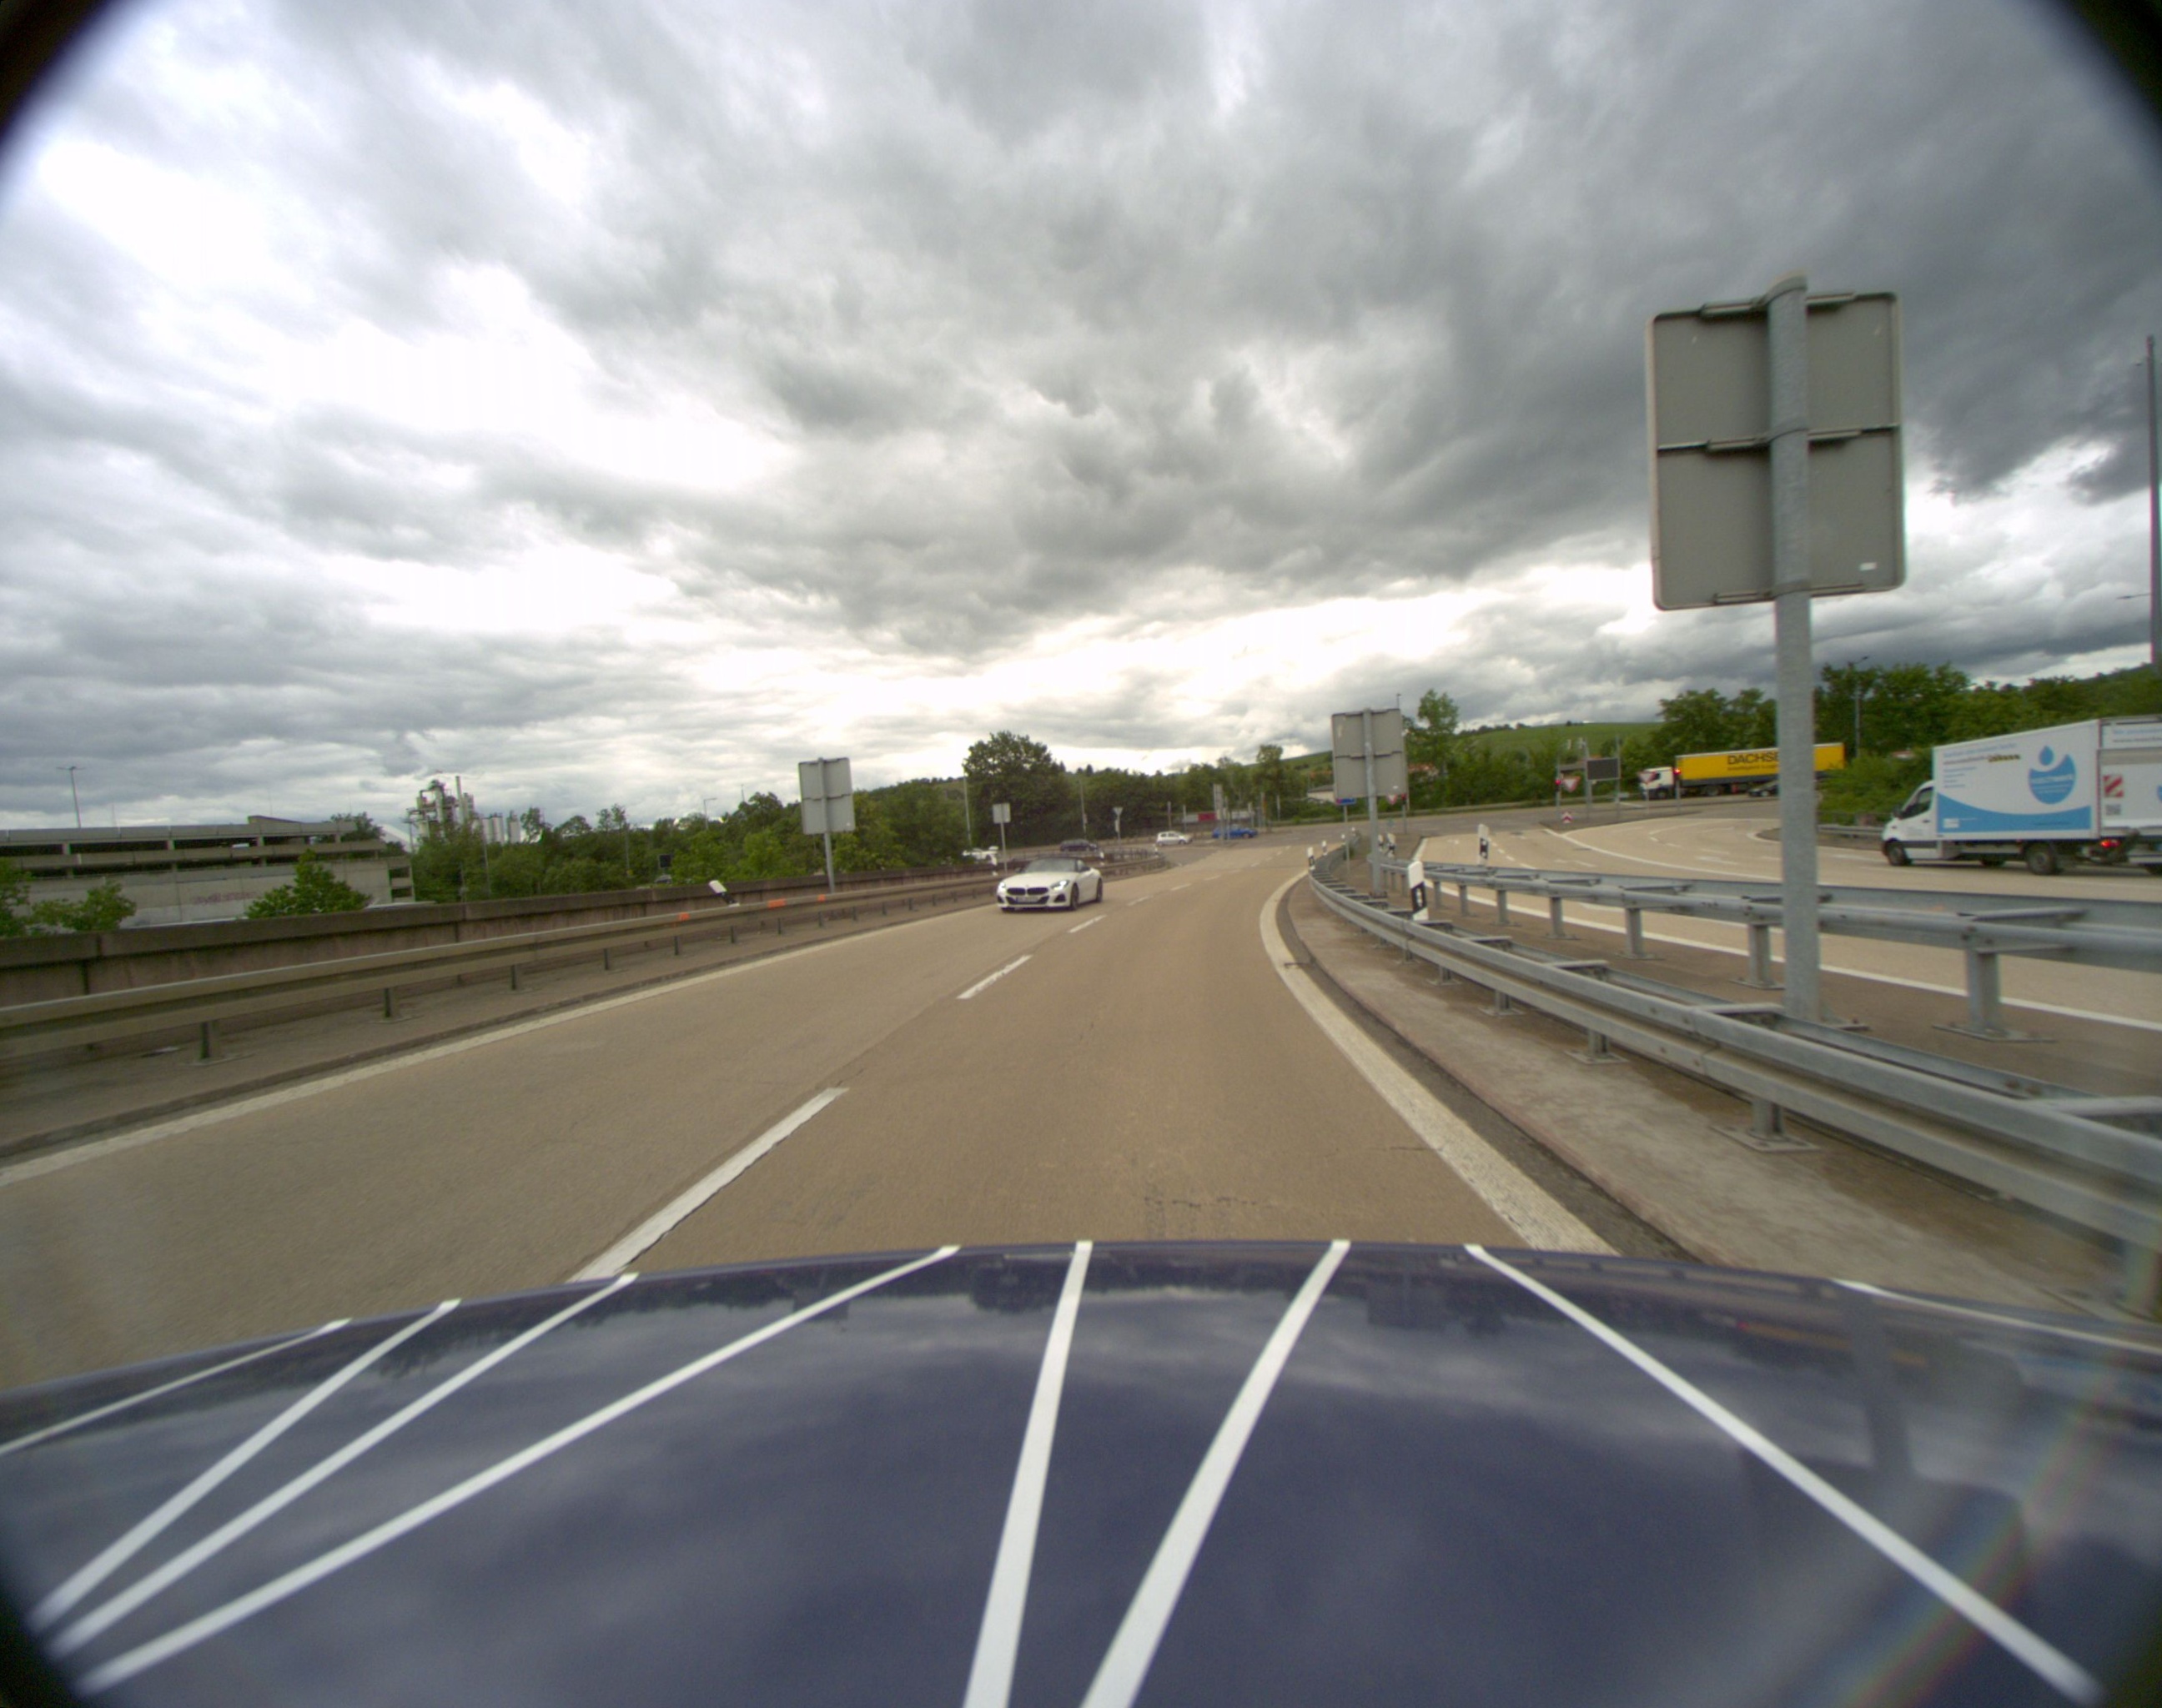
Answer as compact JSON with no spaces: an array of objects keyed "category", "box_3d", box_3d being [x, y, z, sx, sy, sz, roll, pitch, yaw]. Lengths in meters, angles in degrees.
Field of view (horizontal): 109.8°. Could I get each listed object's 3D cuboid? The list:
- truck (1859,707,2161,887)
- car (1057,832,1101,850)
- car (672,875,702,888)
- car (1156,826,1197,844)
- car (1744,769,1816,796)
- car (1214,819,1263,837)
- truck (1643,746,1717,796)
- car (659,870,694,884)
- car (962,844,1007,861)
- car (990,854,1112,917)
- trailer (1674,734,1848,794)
[{"category":"truck","box_3d":[21.132,-1.263,17.022,2.348,3.245,7.001,-3,2,20]},{"category":"car","box_3d":[-0.225,-1.473,84.509,4.285,1.548,1.949,-5,4,26]},{"category":"car","box_3d":[-57.200,3.985,110.240,3.593,1.502,1.651,-4,4,17]},{"category":"car","box_3d":[9.839,-1.963,78.332,3.740,1.367,1.630,-4,4,27]},{"category":"car","box_3d":[59.455,-6.073,64.729,4.116,1.653,1.630,-6,5,25]},{"category":"car","box_3d":[16.182,-2.662,78.157,4.532,1.446,1.611,-4,4,28]},{"category":"truck","box_3d":[57.661,-7.926,73.266,5.090,4.182,2.638,-3,4,27]},{"category":"car","box_3d":[-68.304,3.915,128.220,5.481,1.746,2.135,-5,4,23]},{"category":"car","box_3d":[-11.415,-0.171,89.895,4.705,1.552,1.879,-5,4,22]},{"category":"car","box_3d":[-0.611,0.732,19.834,1.861,1.337,4.829,-2,0,14]},{"category":"trailer","box_3d":[62.777,-8.217,70.609,11.628,4.182,2.638,-3,4,27]}]
